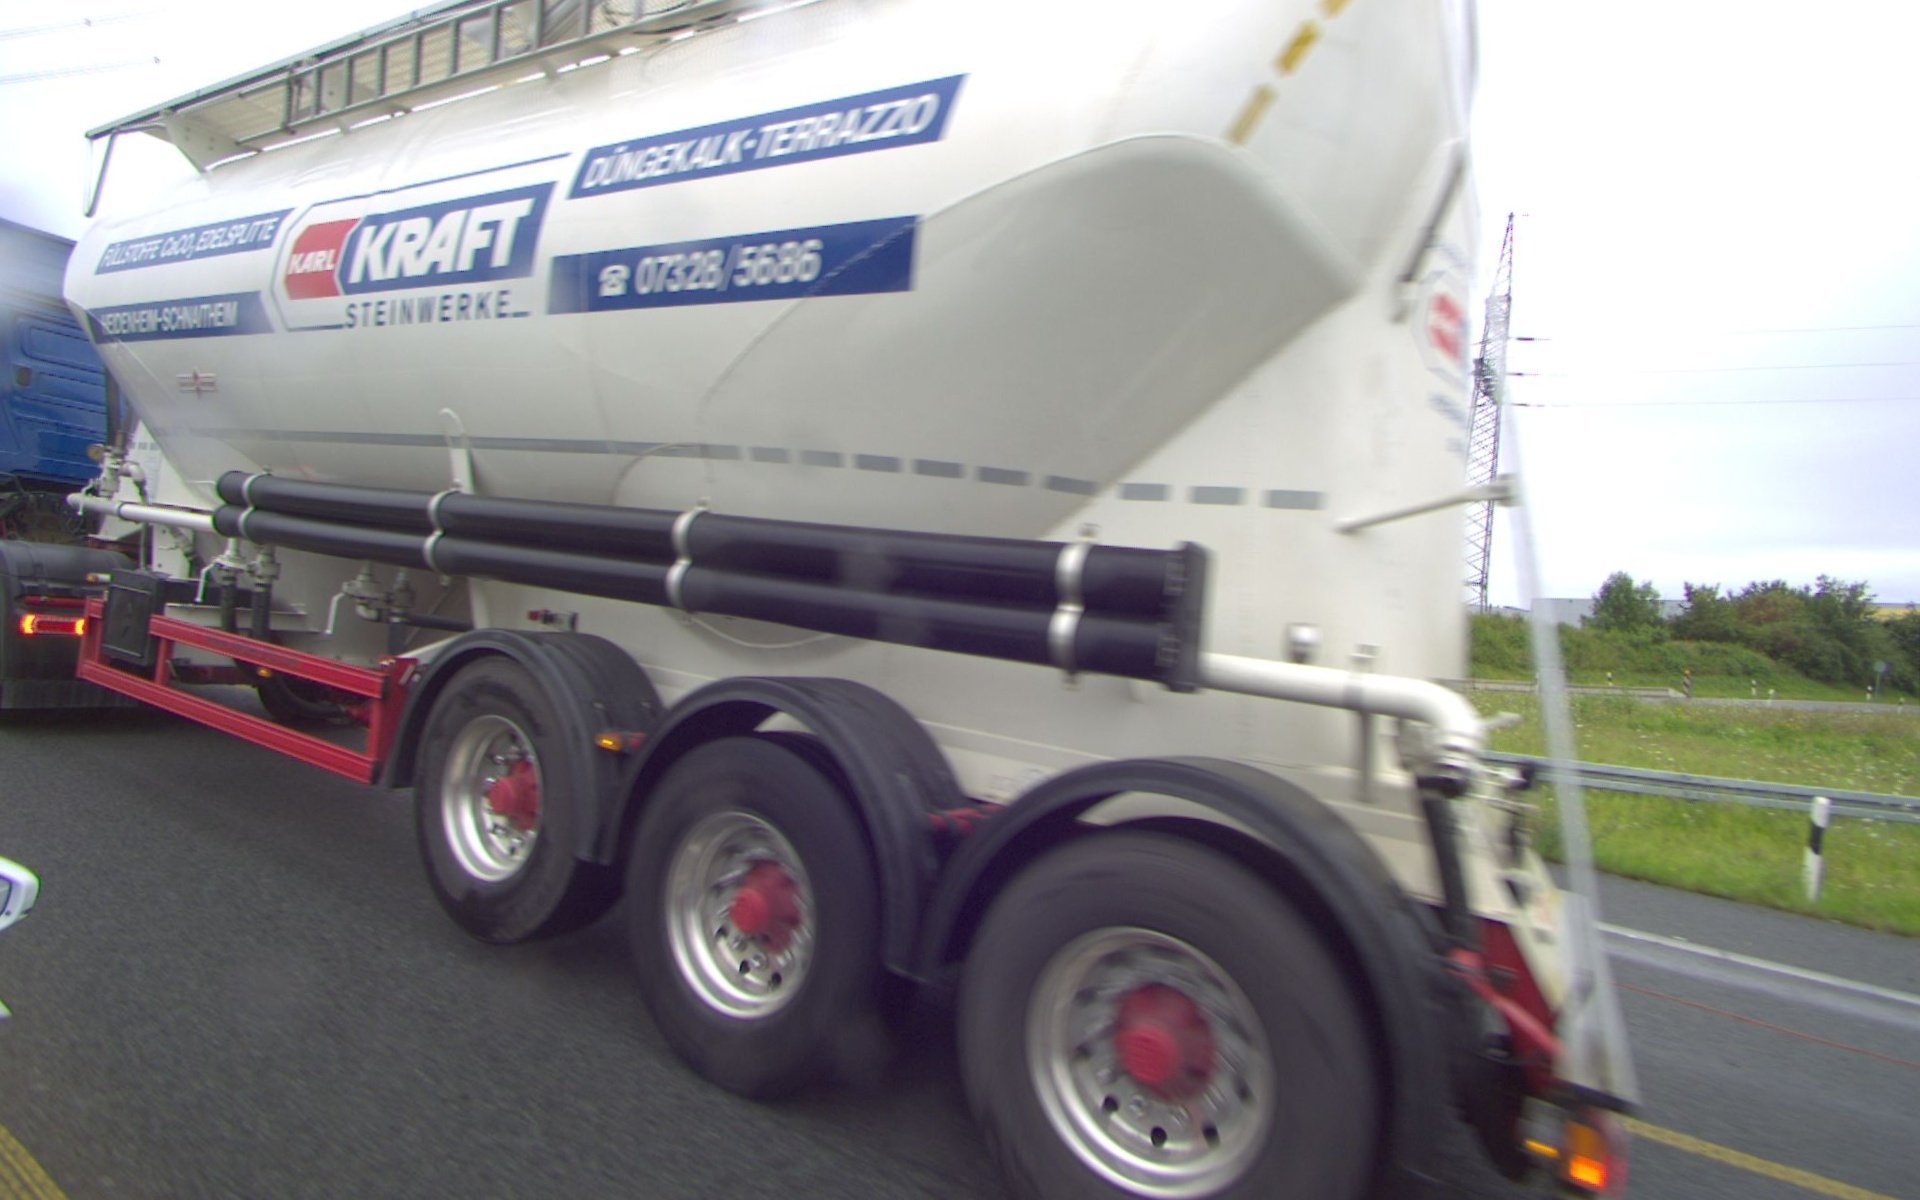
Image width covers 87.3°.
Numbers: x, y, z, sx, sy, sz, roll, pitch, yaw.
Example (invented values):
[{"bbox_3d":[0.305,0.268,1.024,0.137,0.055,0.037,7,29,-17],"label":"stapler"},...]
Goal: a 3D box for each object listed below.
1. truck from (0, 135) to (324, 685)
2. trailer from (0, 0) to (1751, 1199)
[{"bbox_3d":[-8.412,-1.500,9.225,3.935,3.993,2.552,6,-1,32],"label":"truck"},{"bbox_3d":[-3.150,-1.098,6.040,12.147,3.878,2.524,6,-1,32],"label":"trailer"}]
